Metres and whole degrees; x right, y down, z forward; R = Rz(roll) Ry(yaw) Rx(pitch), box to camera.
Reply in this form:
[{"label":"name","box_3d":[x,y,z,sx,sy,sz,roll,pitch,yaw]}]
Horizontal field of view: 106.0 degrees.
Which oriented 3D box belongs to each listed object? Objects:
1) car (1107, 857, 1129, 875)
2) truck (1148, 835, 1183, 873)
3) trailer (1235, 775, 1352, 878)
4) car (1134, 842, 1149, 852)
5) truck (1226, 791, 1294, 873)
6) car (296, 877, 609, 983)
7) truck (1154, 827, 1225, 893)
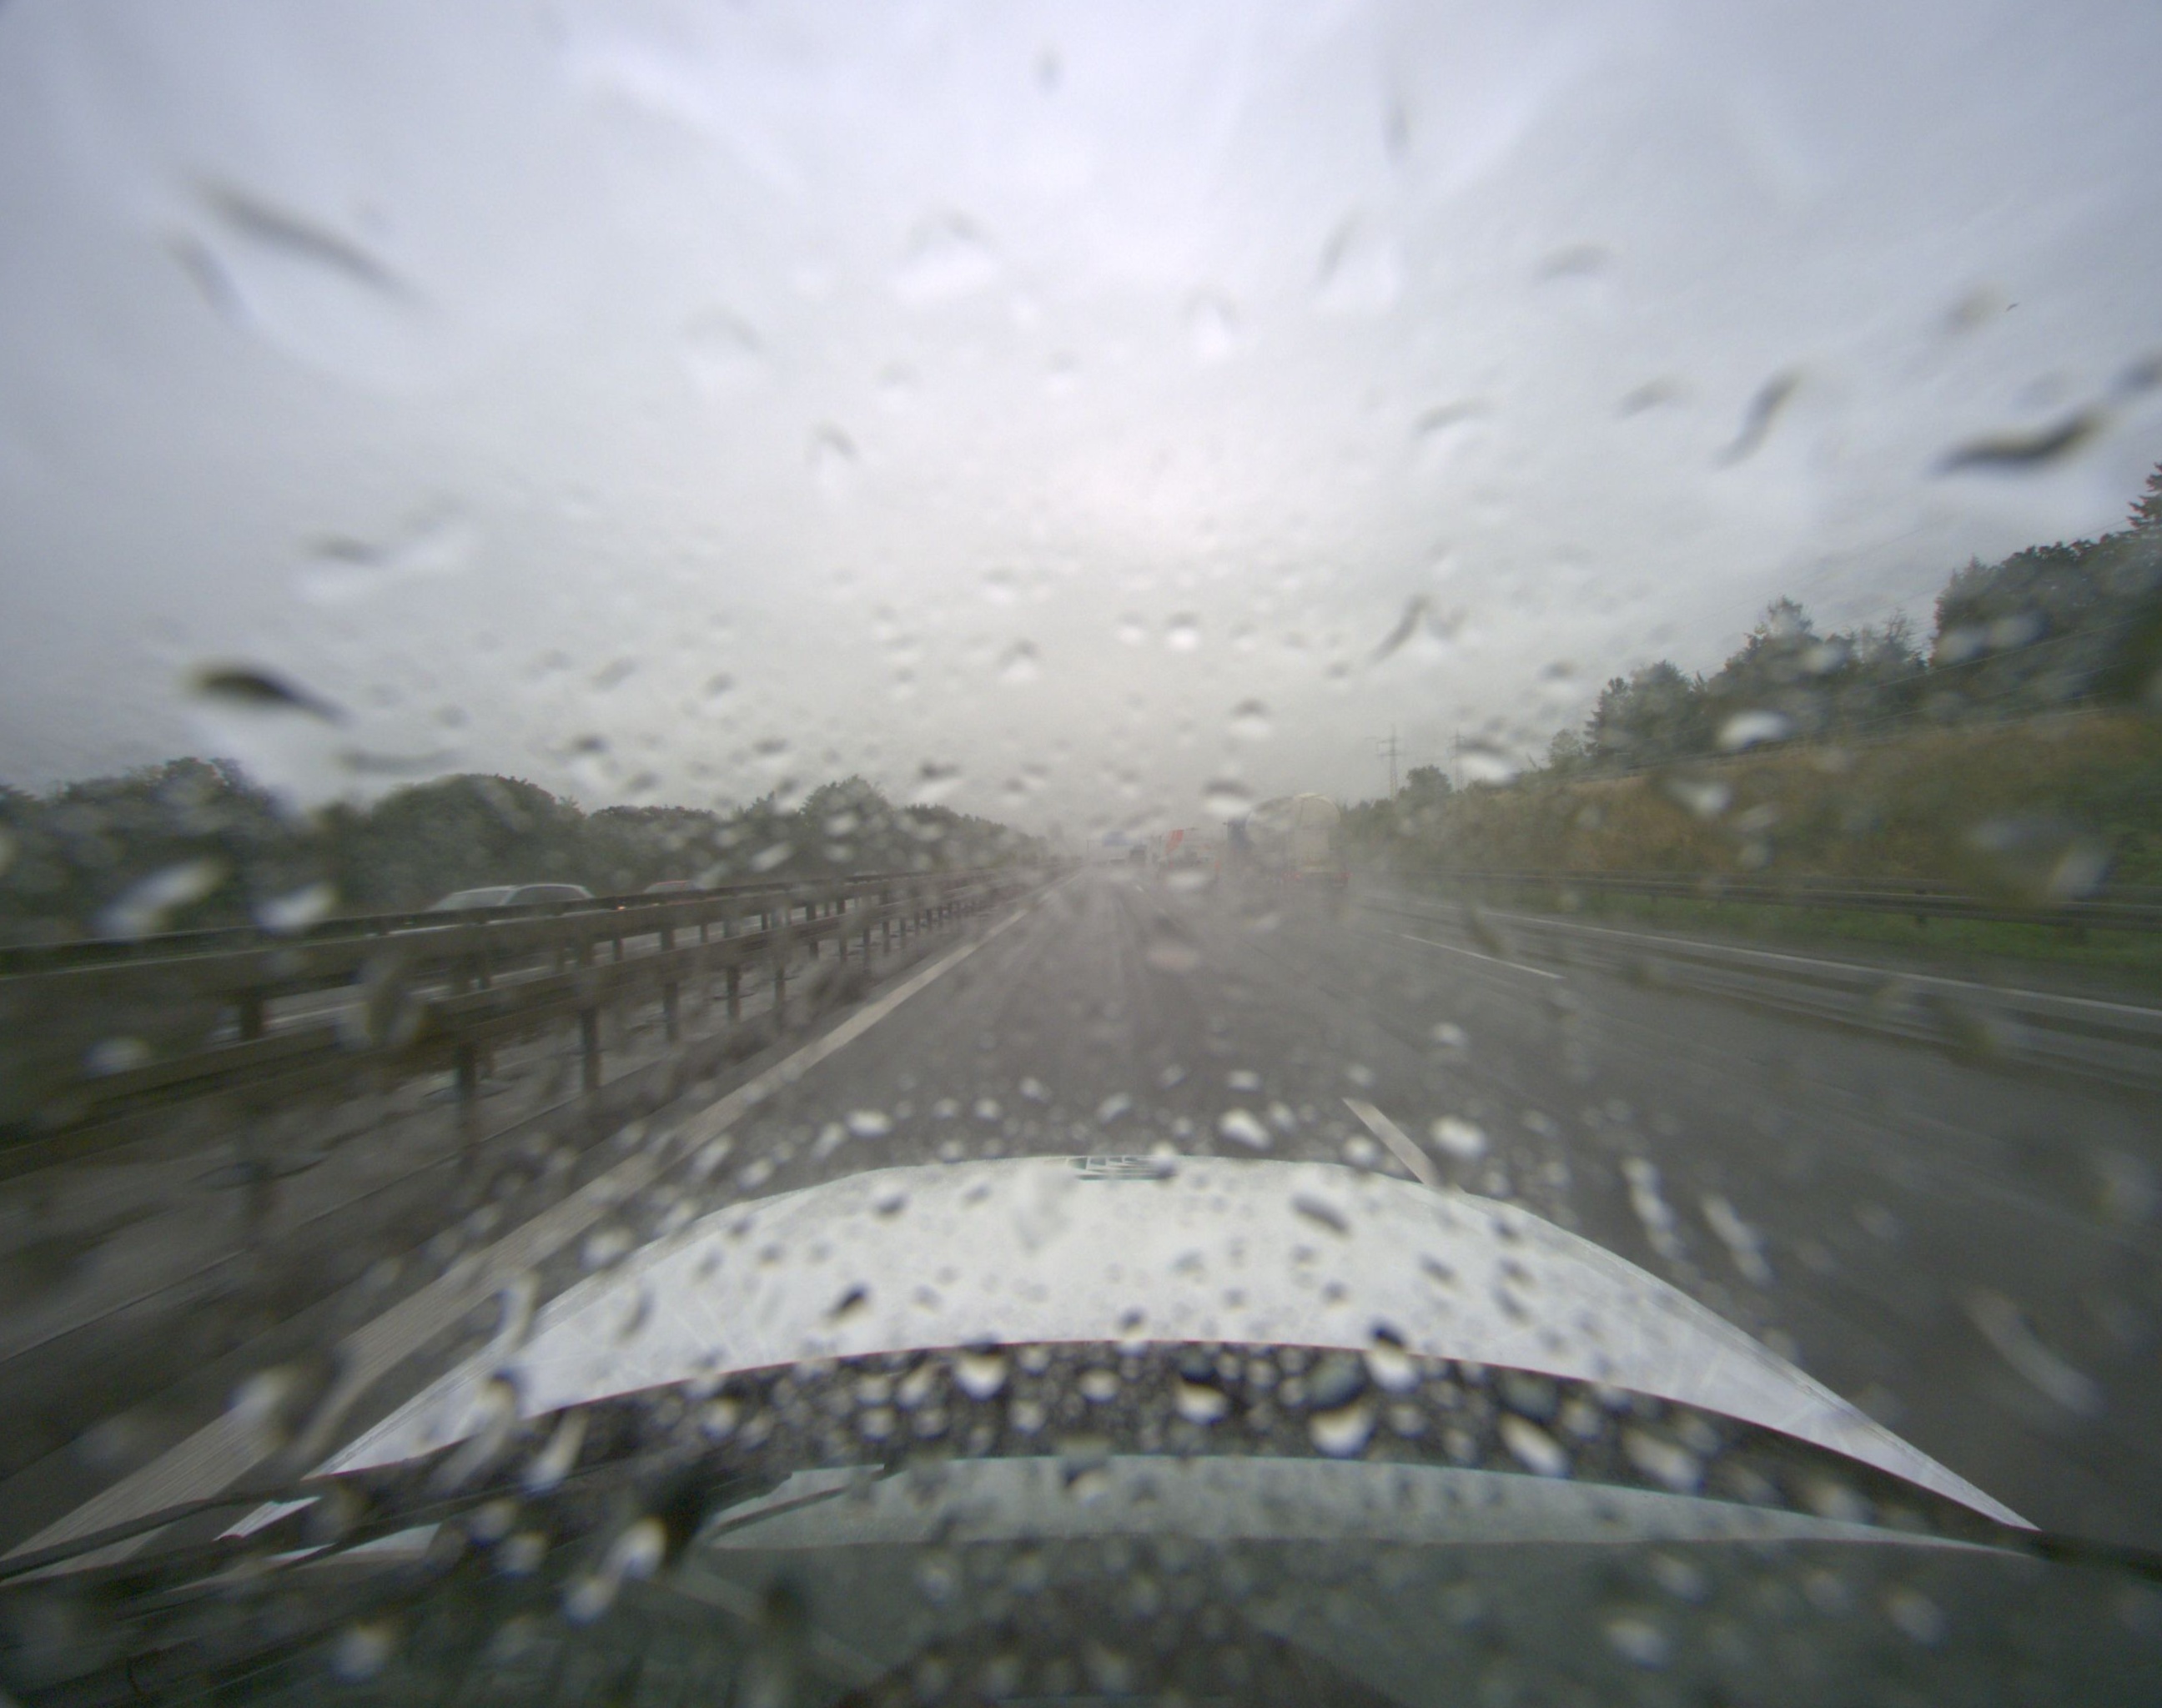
[{"label":"car","box_3d":[2.865,0.908,62.968,1.600,1.338,3.849,-1,0,1]},{"label":"truck","box_3d":[10.931,0.152,106.936,3.029,4.588,16.350,-1,-1,1]},{"label":"trailer","box_3d":[9.104,-1.052,36.389,2.488,3.882,11.068,-1,0,1]},{"label":"car","box_3d":[12.407,-1.386,166.773,2.778,2.013,4.994,-1,0,1]},{"label":"truck","box_3d":[9.165,-1.075,42.177,2.488,3.983,5.076,-1,0,1]},{"label":"car","box_3d":[-10.988,1.228,14.818,1.986,1.434,4.649,-1,1,1]},{"label":"truck","box_3d":[4.356,0.220,33.629,2.410,2.492,5.562,-1,0,2]}]
